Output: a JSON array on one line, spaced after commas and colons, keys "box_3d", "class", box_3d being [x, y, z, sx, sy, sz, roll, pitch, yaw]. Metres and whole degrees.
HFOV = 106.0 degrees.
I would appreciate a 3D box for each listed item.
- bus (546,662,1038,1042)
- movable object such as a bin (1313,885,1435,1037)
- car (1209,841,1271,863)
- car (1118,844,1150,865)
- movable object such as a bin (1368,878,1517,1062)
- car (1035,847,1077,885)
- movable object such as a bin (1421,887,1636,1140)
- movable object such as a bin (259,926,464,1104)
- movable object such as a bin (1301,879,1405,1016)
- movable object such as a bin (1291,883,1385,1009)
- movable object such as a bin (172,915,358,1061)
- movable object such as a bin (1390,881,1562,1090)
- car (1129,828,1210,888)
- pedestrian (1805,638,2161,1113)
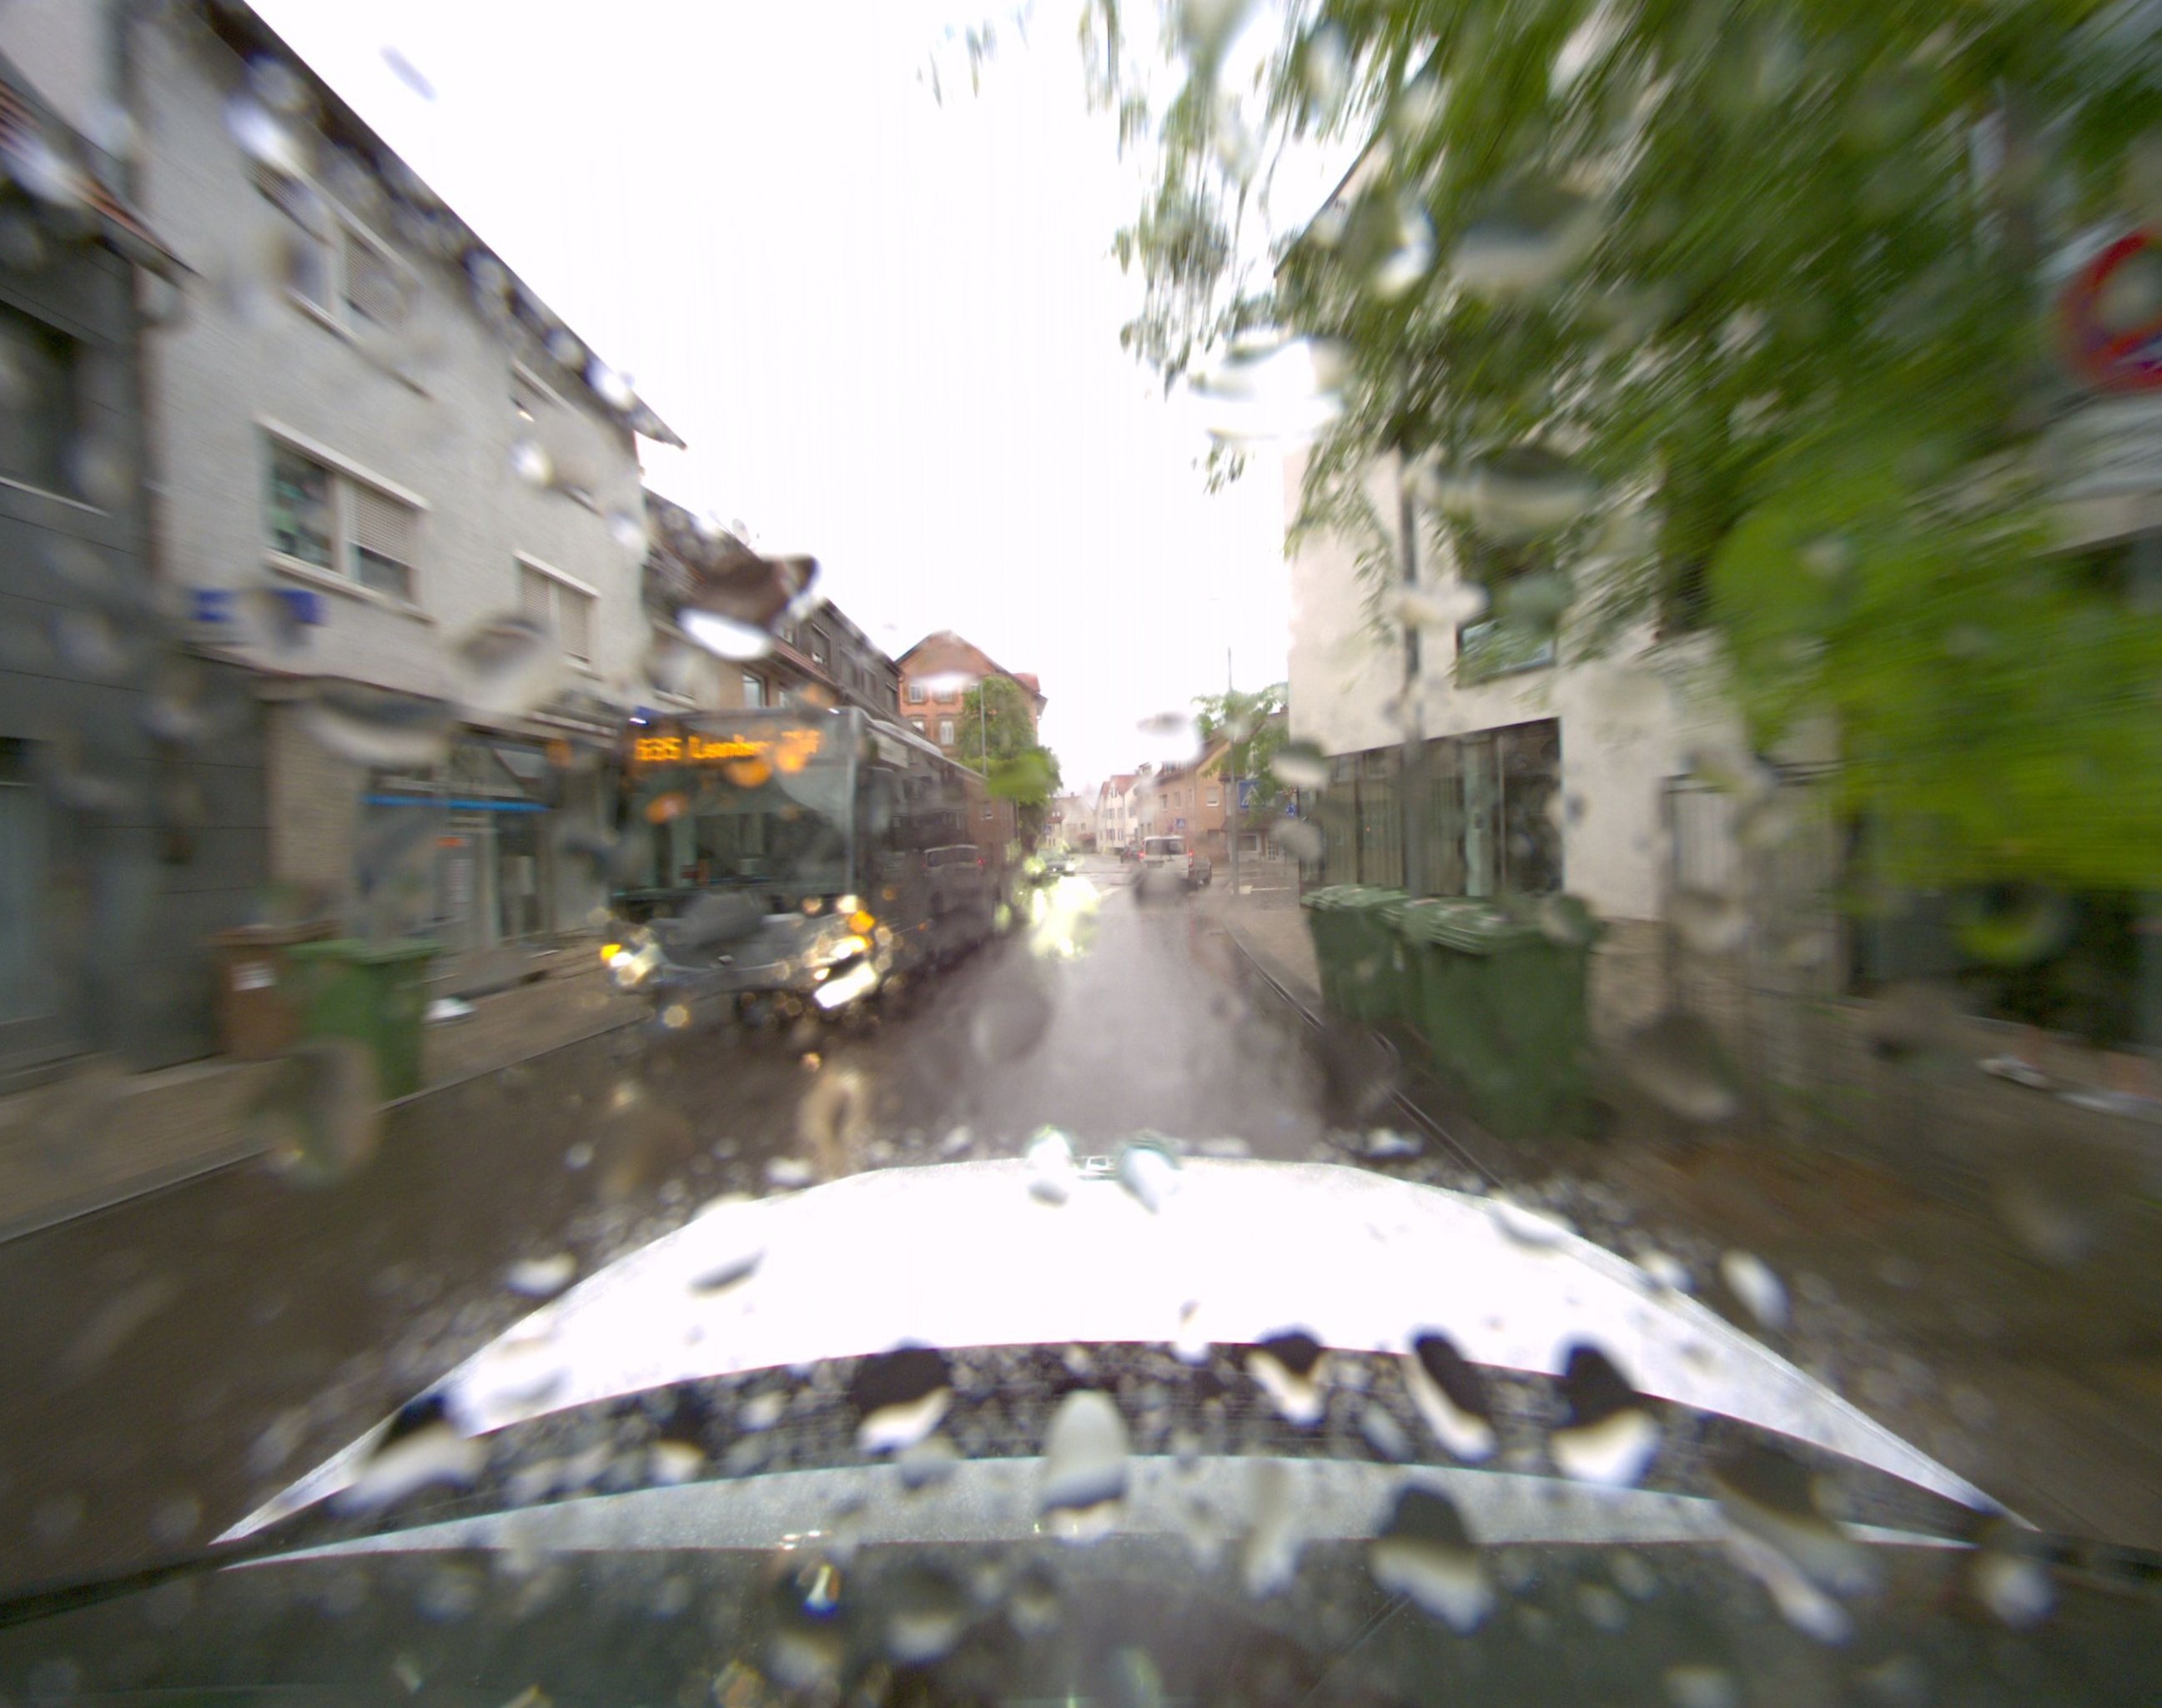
[{"box_3d": [-2.701, -0.045, 12.193, 2.711, 3.079, 10.958, -1, 0, 4], "class": "bus"}, {"box_3d": [2.328, 0.832, 6.537, 0.758, 1.118, 0.625, -1, 0, 4], "class": "movable object such as a bin"}, {"box_3d": [11.626, -0.116, 59.764, 3.989, 1.486, 1.992, -1, -1, -12], "class": "car"}, {"box_3d": [4.326, 0.038, 67.230, 1.970, 1.679, 4.060, -1, -1, -5], "class": "car"}, {"box_3d": [2.495, 0.782, 5.697, 0.748, 1.171, 0.632, -3, -1, 7], "class": "movable object such as a bin"}, {"box_3d": [-1.017, 0.471, 35.166, 1.660, 1.430, 4.468, -2, 1, -1], "class": "car"}, {"box_3d": [2.272, 0.784, 4.222, 0.748, 1.171, 0.632, -3, -1, 7], "class": "movable object such as a bin"}, {"box_3d": [-4.873, 1.058, 5.570, 0.738, 1.059, 0.726, -1, 0, -1], "class": "movable object such as a bin"}, {"box_3d": [2.368, 0.799, 7.141, 0.720, 1.118, 0.577, -1, 0, 4], "class": "movable object such as a bin"}, {"box_3d": [2.421, 0.851, 7.731, 0.720, 1.118, 0.577, -1, 0, 4], "class": "movable object such as a bin"}, {"box_3d": [-6.594, 1.057, 6.622, 0.790, 1.059, 0.701, -1, 0, -1], "class": "movable object such as a bin"}, {"box_3d": [2.406, 0.779, 5.041, 0.748, 1.171, 0.632, -3, -1, 7], "class": "movable object such as a bin"}, {"box_3d": [3.227, 0.151, 28.599, 2.137, 1.898, 4.944, -1, -1, 14], "class": "car"}, {"box_3d": [4.515, 0.085, 4.018, 0.864, 2.014, 1.082, -1, -1, -1], "class": "pedestrian"}]
